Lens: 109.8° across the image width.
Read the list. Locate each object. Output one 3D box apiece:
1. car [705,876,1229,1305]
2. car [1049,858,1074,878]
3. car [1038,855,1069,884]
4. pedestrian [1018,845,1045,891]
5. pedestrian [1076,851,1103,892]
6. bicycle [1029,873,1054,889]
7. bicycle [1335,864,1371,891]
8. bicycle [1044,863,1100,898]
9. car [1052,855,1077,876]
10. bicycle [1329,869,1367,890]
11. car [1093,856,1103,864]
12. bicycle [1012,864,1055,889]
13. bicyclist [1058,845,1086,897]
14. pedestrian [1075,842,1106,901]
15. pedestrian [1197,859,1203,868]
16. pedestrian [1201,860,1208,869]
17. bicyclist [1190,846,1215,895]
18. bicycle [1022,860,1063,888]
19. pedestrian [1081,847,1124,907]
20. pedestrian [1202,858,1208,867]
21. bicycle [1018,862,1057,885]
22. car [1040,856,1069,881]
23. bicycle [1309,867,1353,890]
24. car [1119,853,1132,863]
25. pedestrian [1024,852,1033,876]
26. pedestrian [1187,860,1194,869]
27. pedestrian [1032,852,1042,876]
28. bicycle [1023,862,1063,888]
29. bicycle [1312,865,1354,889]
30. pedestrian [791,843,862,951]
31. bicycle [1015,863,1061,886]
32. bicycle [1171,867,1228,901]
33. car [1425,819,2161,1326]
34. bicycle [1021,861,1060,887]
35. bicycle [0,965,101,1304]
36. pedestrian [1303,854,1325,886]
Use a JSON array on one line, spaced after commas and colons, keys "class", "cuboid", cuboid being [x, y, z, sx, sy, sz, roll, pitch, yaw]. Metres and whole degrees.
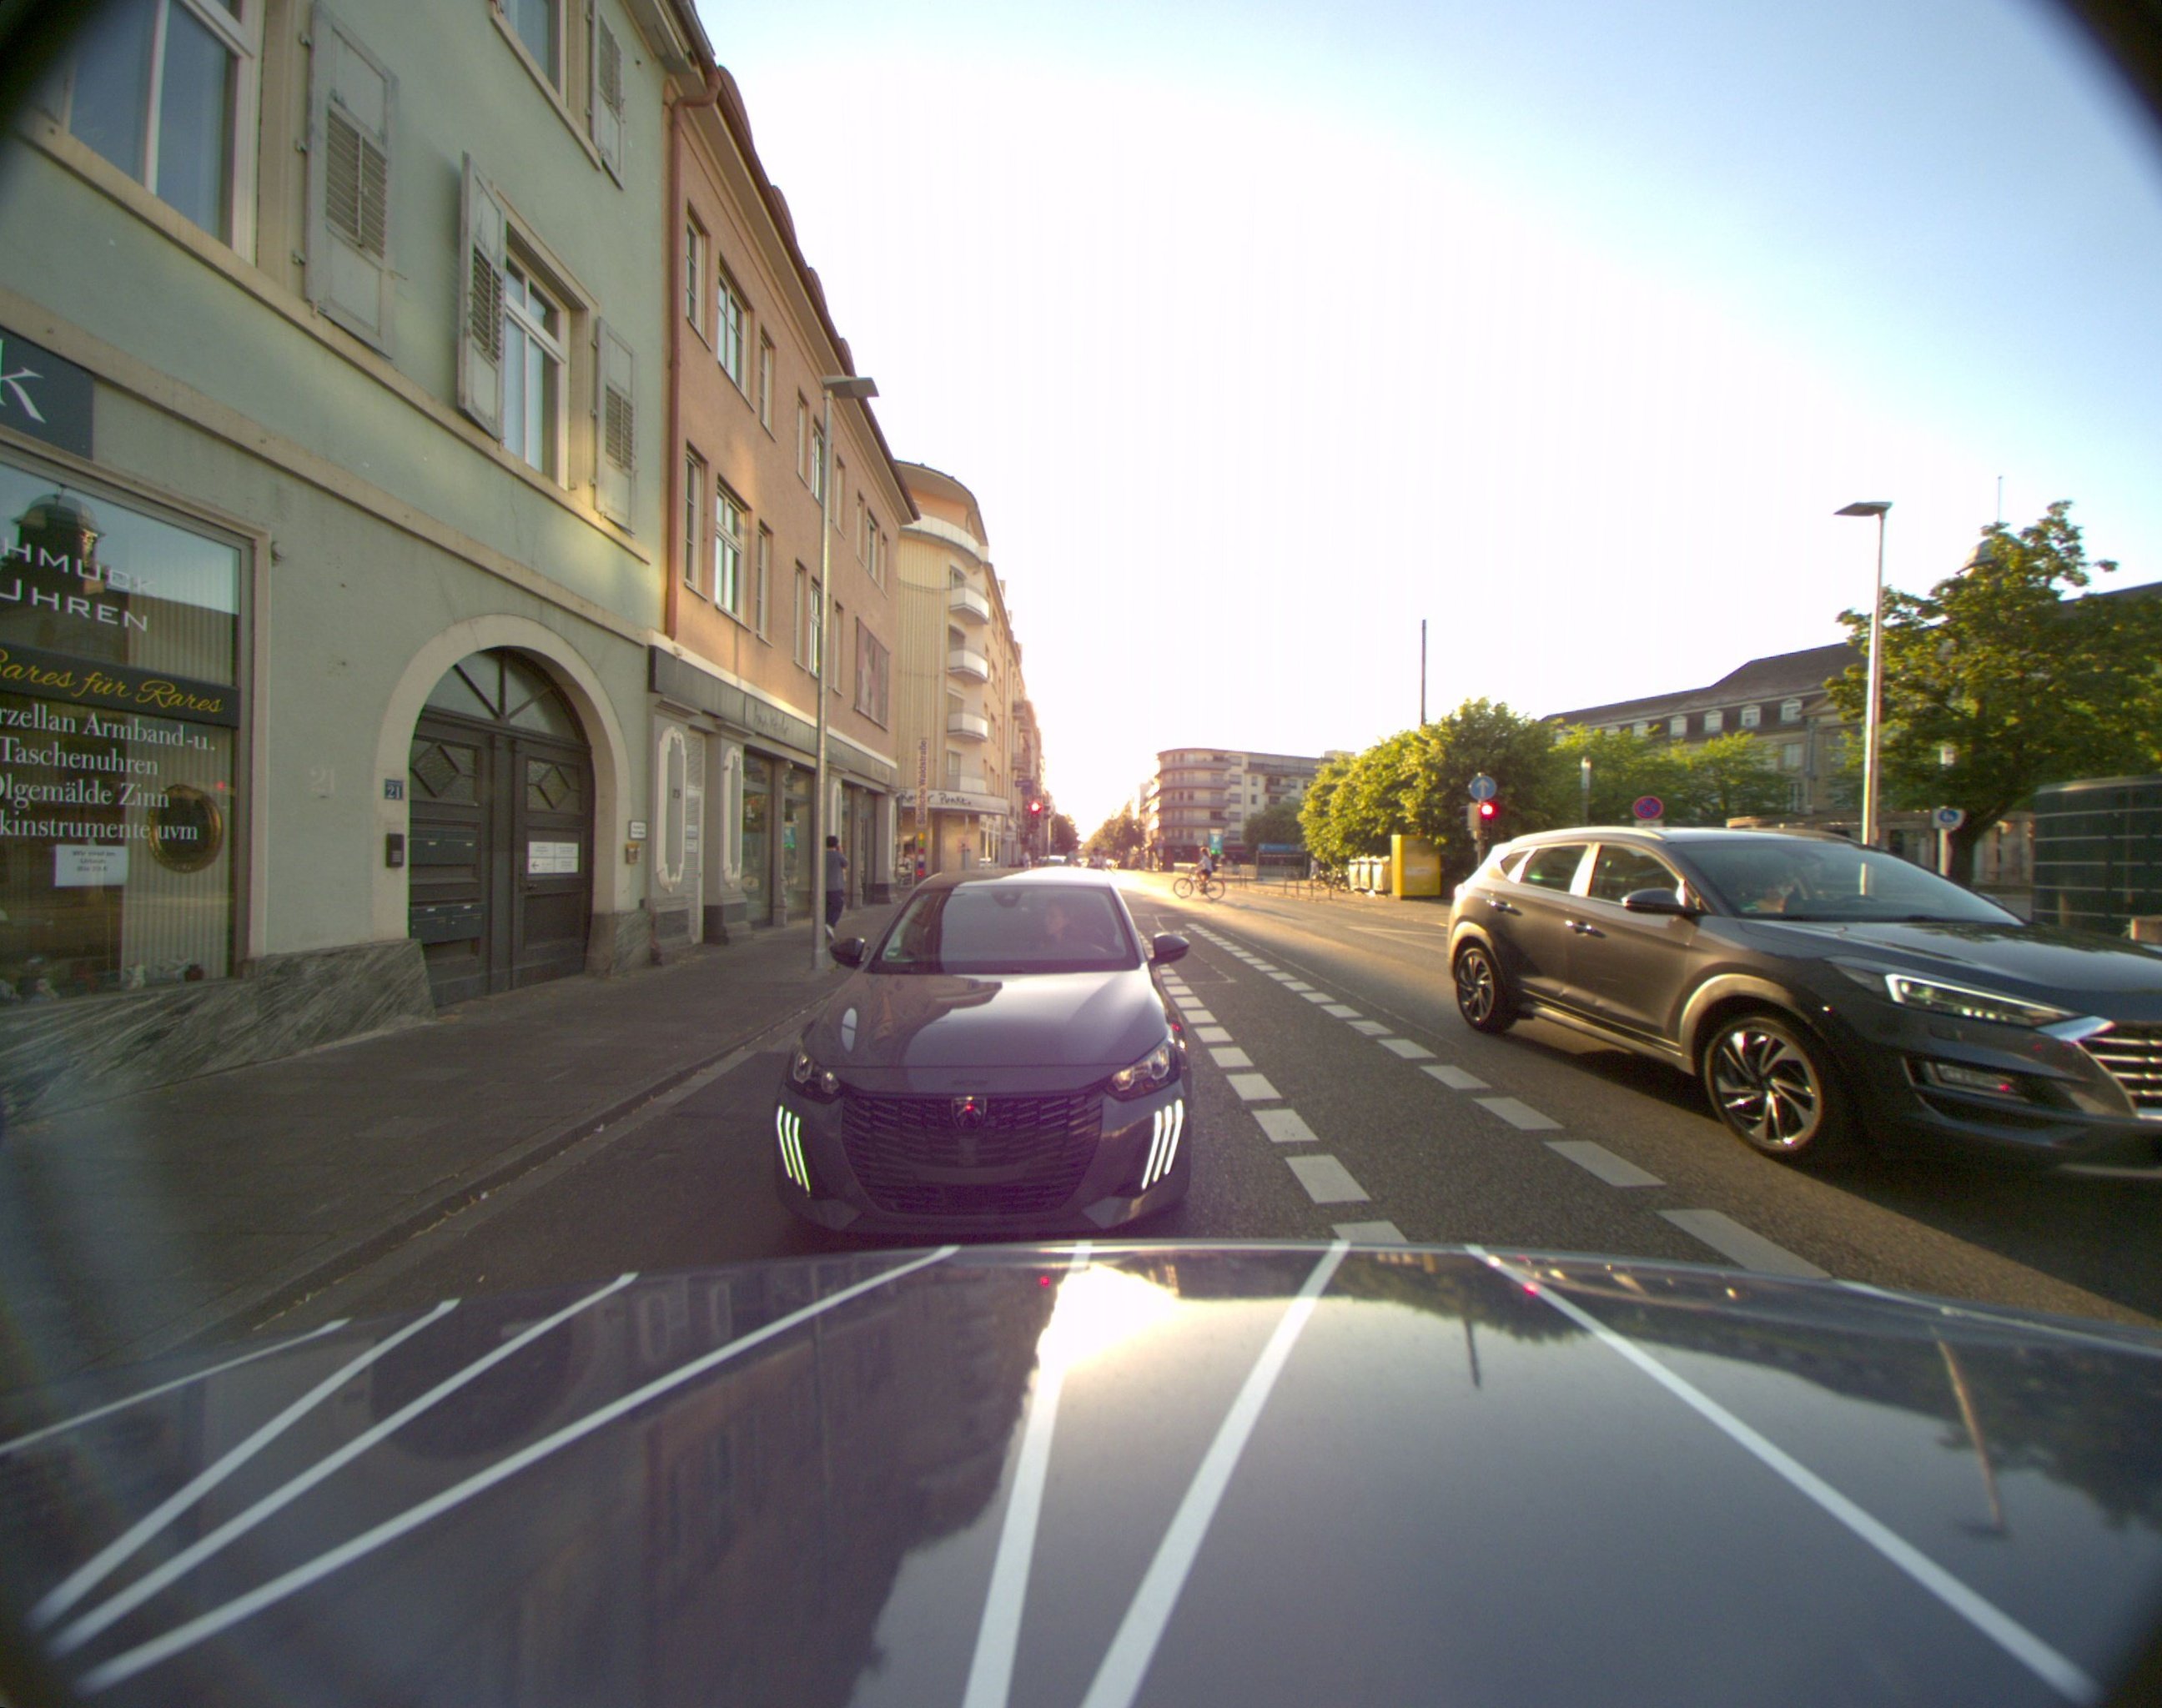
[{"class": "car", "cuboid": [-0.427, 0.930, 5.005, 1.908, 1.438, 4.449, 0, 0, 0]}, {"class": "car", "cuboid": [-1.409, 1.013, 56.675, 1.738, 1.448, 4.610, 0, 0, 0]}, {"class": "car", "cuboid": [-1.634, 0.878, 44.776, 1.702, 1.607, 4.682, 0, 0, -2]}, {"class": "pedestrian", "cuboid": [-2.019, 0.561, 30.846, 0.827, 1.806, 0.869, 1, 0, -26]}, {"class": "pedestrian", "cuboid": [0.350, 0.716, 31.461, 0.789, 1.643, 0.782, 1, 1, 43]}, {"class": "bicycle", "cuboid": [-1.752, 1.188, 33.501, 1.008, 0.677, 1.049, 1, 0, -9]}, {"class": "bicycle", "cuboid": [13.198, 1.131, 36.849, 1.590, 1.245, 0.445, -1, 0, -2]}, {"class": "bicycle", "cuboid": [-0.313, 0.918, 26.710, 1.823, 1.179, 0.794, 1, 0, 9]}, {"class": "car", "cuboid": [-1.302, 0.934, 62.227, 1.877, 1.664, 4.430, 0, 0, 0]}, {"class": "bicycle", "cuboid": [13.107, 1.236, 37.330, 1.678, 0.973, 0.548, -1, 0, -4]}, {"class": "car", "cuboid": [3.524, 1.268, 156.107, 1.790, 1.458, 3.956, 2, 0, -1]}, {"class": "bicycle", "cuboid": [-2.137, 1.002, 34.173, 1.788, 1.057, 0.718, 2, 0, -11]}, {"class": "bicyclist", "cuboid": [-0.315, 0.593, 26.767, 0.835, 1.815, 0.831, 1, 0, 8]}, {"class": "pedestrian", "cuboid": [0.305, 0.567, 24.812, 0.940, 1.886, 0.826, 1, 0, 4]}, {"class": "pedestrian", "cuboid": [17.428, 1.445, 111.280, 0.732, 1.314, 0.889, 0, 0, -1]}, {"class": "pedestrian", "cuboid": [18.136, 1.521, 111.750, 0.689, 1.314, 0.819, 0, 0, -24]}, {"class": "bicyclist", "cuboid": [4.334, 0.591, 27.135, 0.777, 1.714, 0.856, 1, 0, 15]}, {"class": "bicycle", "cuboid": [-1.806, 0.924, 35.110, 1.849, 1.232, 0.639, 1, 0, -5]}, {"class": "pedestrian", "cuboid": [0.663, 0.672, 22.963, 1.098, 1.764, 0.827, 1, 0, 17]}, {"class": "pedestrian", "cuboid": [18.171, 1.285, 111.354, 0.732, 1.314, 0.888, 0, 0, -2]}, {"class": "bicycle", "cuboid": [-2.217, 0.997, 38.441, 1.851, 1.117, 0.594, 2, 1, -11]}, {"class": "car", "cuboid": [-1.740, 0.920, 51.053, 1.821, 1.611, 4.203, 0, 0, 0]}, {"class": "bicycle", "cuboid": [12.467, 1.213, 37.967, 2.031, 1.128, 0.548, -1, 0, -4]}, {"class": "car", "cuboid": [7.987, 0.746, 135.553, 1.999, 1.805, 3.999, 1, 0, -2]}, {"class": "pedestrian", "cuboid": [-4.403, 0.804, 63.683, 0.673, 2.002, 0.851, 0, 1, 0]}, {"class": "pedestrian", "cuboid": [15.809, 1.504, 109.828, 0.887, 1.185, 0.733, 0, 0, 9]}, {"class": "pedestrian", "cuboid": [-3.721, 0.807, 63.880, 0.763, 2.002, 0.851, 0, 0, 0]}, {"class": "bicycle", "cuboid": [-1.808, 0.972, 35.858, 1.788, 1.166, 0.622, 2, 0, -11]}, {"class": "bicycle", "cuboid": [13.156, 1.191, 39.679, 2.031, 1.245, 0.548, -1, 0, -4]}, {"class": "pedestrian", "cuboid": [-4.010, 0.657, 12.030, 0.825, 1.632, 0.871, 1, 0, -2]}, {"class": "bicycle", "cuboid": [-2.123, 1.008, 37.442, 2.176, 1.069, 0.805, 2, 0, -7]}, {"class": "bicycle", "cuboid": [4.217, 1.057, 27.114, 1.917, 1.111, 0.706, 1, 0, 17]}, {"class": "car", "cuboid": [4.107, 0.761, 4.754, 1.877, 1.679, 4.450, 2, 0, 0]}, {"class": "bicycle", "cuboid": [-1.944, 0.960, 36.490, 1.788, 1.166, 0.622, 2, 0, -11]}, {"class": "bicycle", "cuboid": [-3.974, 0.959, 1.862, 0.692, 1.100, 1.896, 1, 0, 0]}, {"class": "pedestrian", "cuboid": [13.540, 0.904, 44.161, 0.950, 1.806, 0.828, 1, 1, 43]}]
